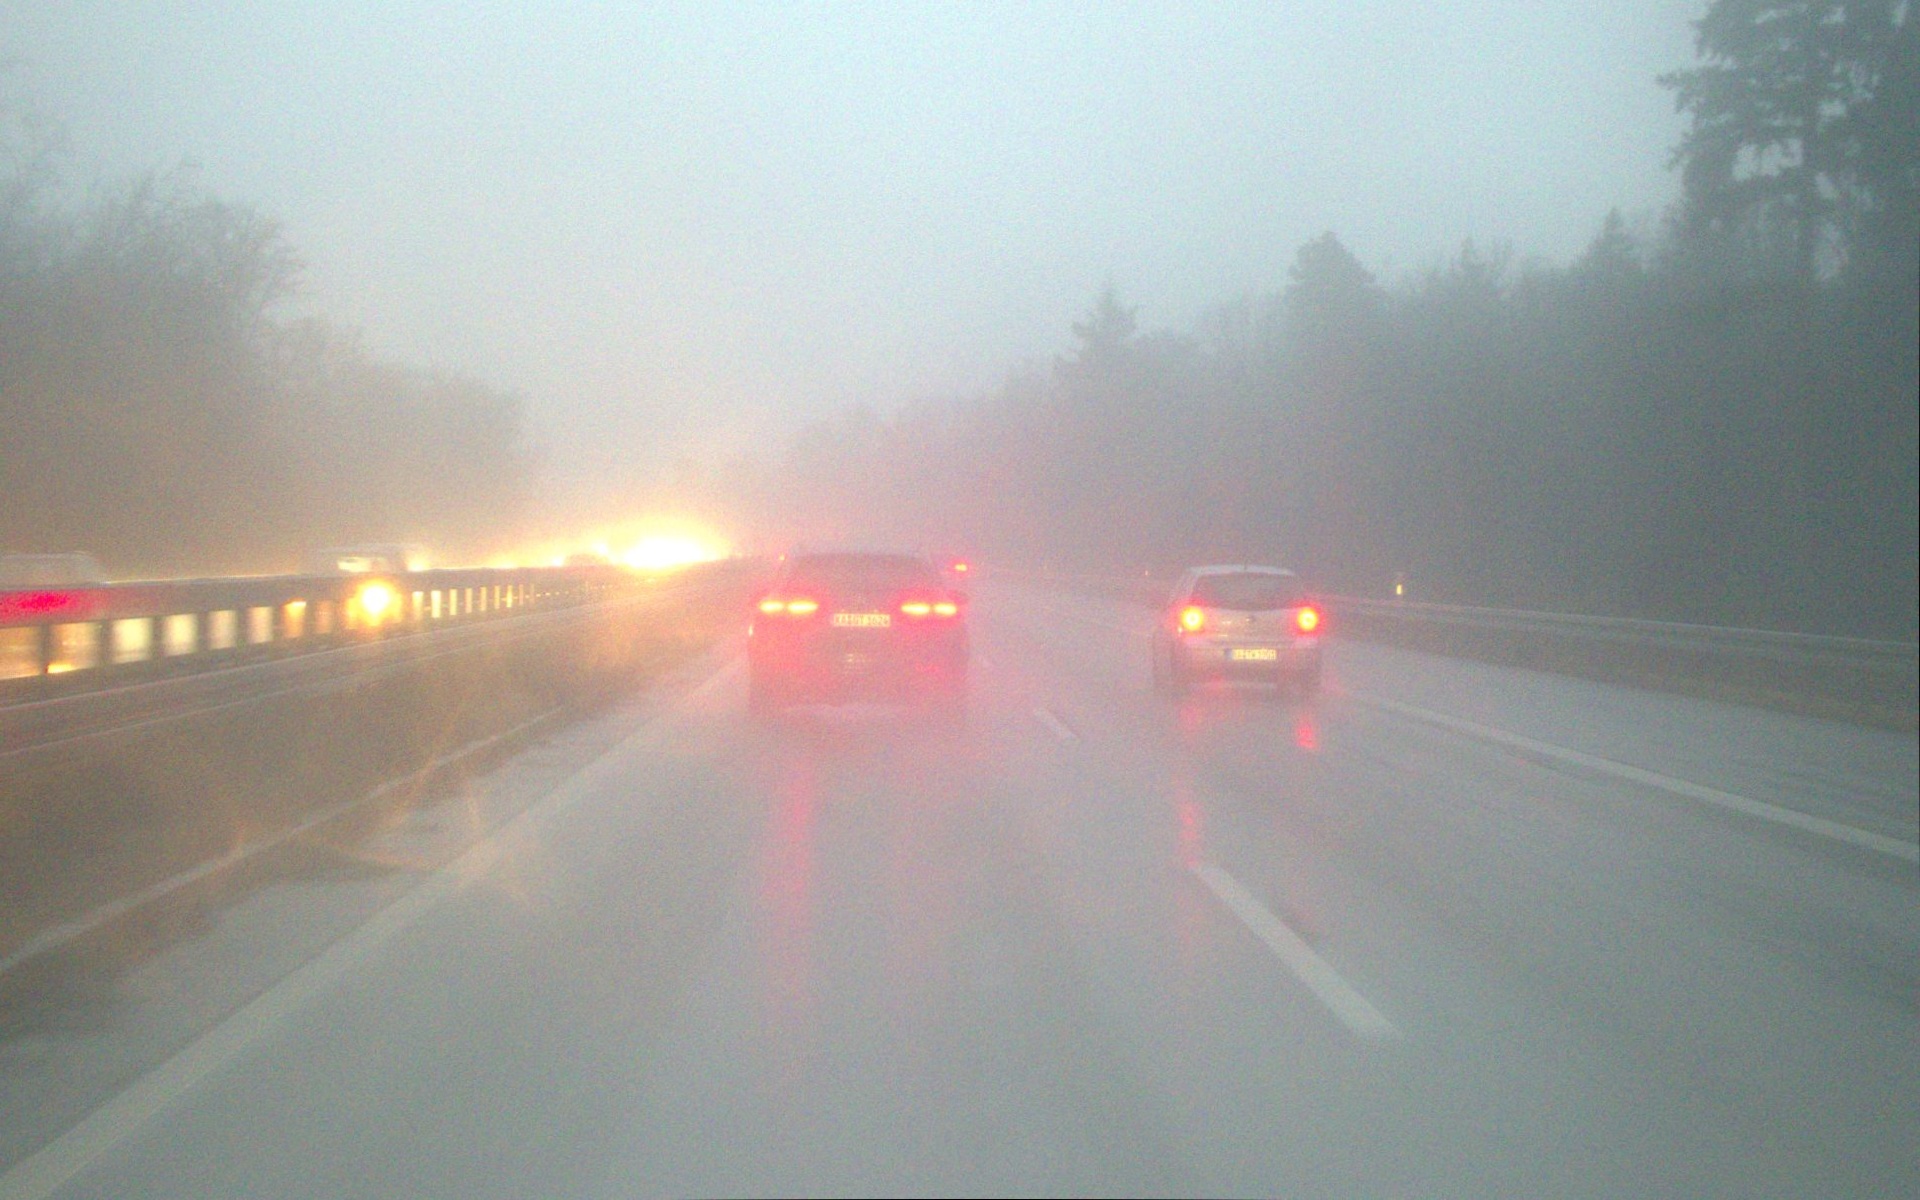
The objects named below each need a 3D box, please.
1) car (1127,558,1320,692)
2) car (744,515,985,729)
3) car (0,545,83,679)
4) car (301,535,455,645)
[{"bbox_3d":[2.958,0.253,39.223,1.780,1.432,3.537,1,1,-2],"label":"car"},{"bbox_3d":[-0.845,0.150,30.748,1.986,1.761,4.174,1,1,-1],"label":"car"},{"bbox_3d":[-13.874,0.131,48.501,1.983,1.801,4.000,0,1,0],"label":"car"},{"bbox_3d":[-8.735,-0.174,51.815,1.722,1.601,3.514,0,1,0],"label":"car"}]
